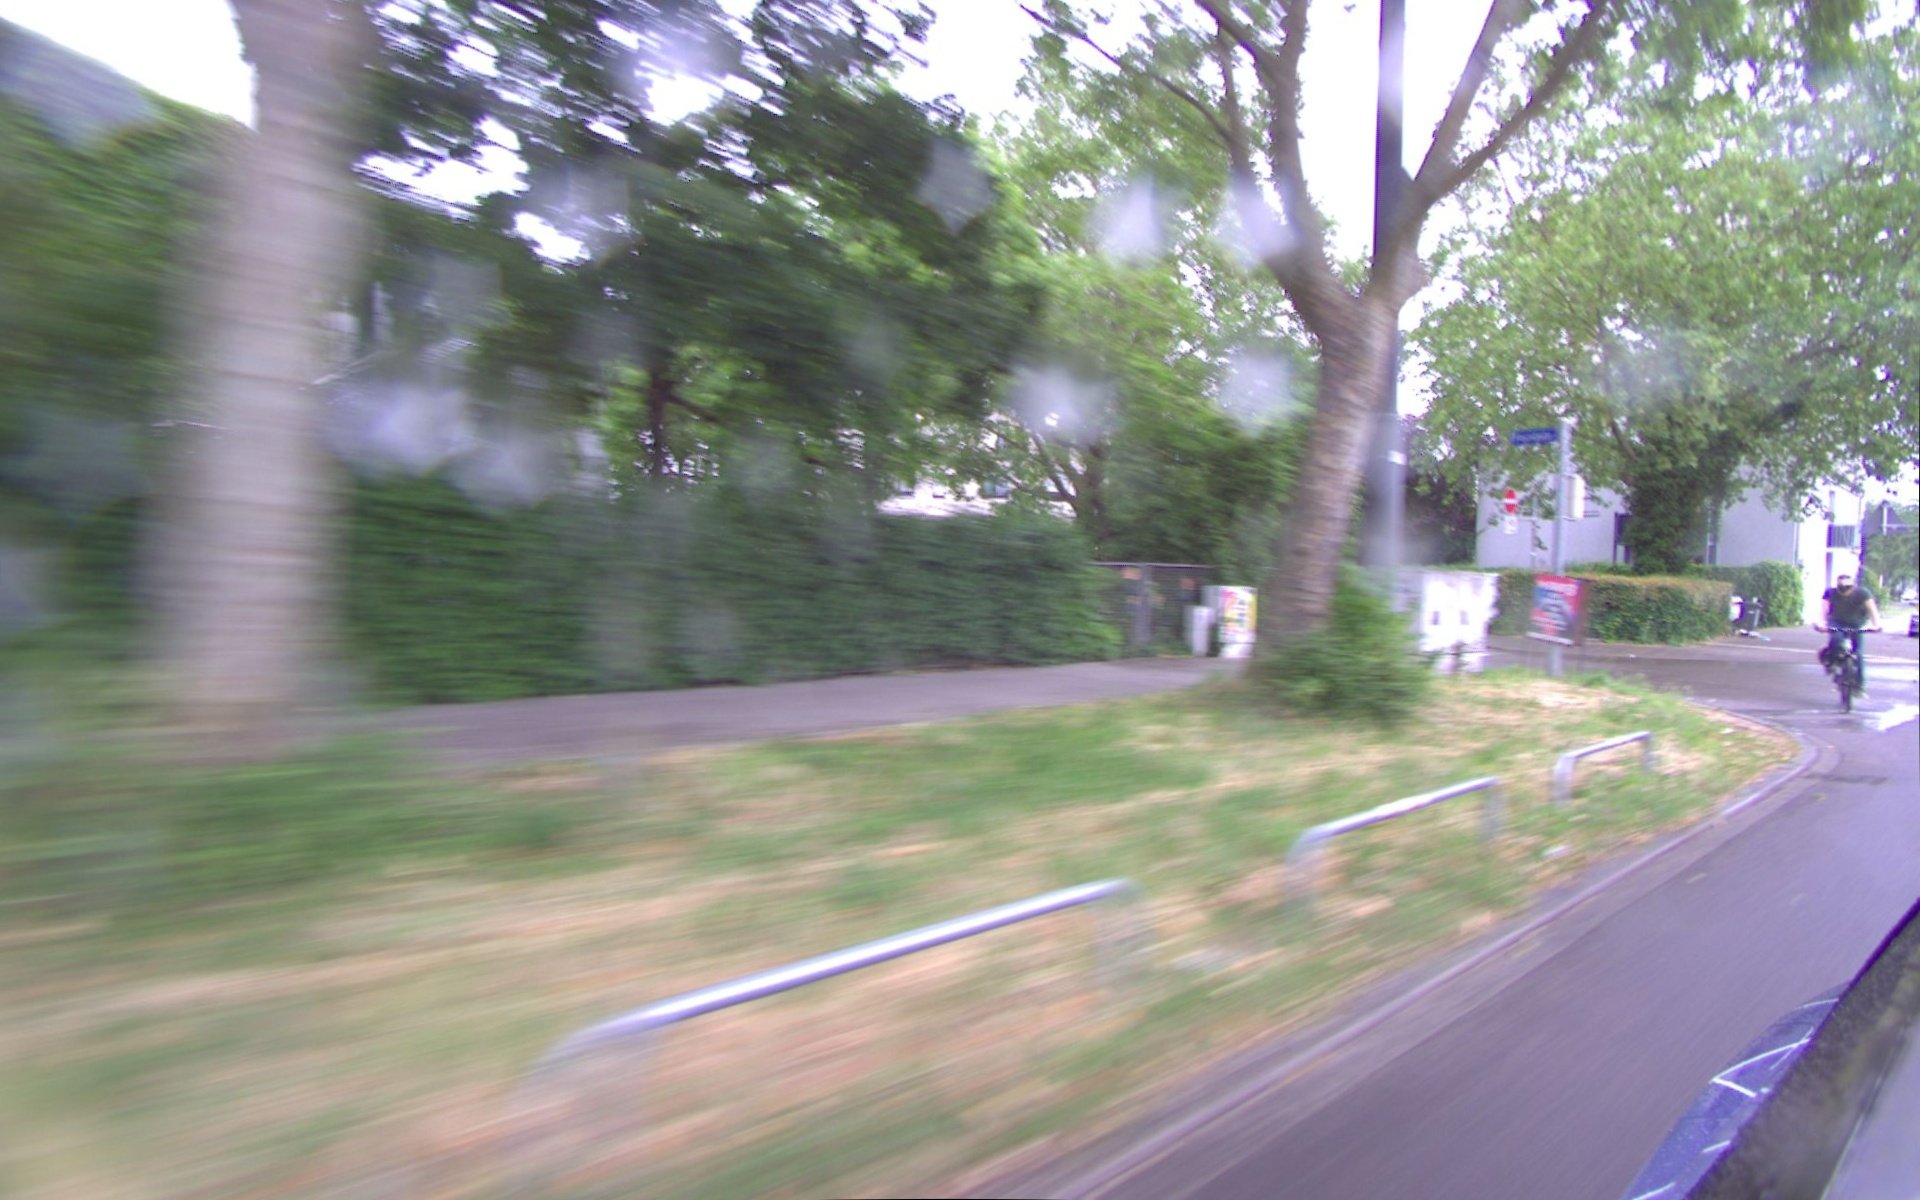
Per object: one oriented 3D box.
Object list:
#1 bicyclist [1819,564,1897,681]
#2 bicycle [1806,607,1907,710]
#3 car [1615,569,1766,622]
[{"bbox_3d":[11.630,0.271,13.102,0.741,1.447,0.674,-1,1,-42],"label":"bicyclist"},{"bbox_3d":[11.654,0.708,13.125,2.403,1.157,0.674,-1,2,-42],"label":"bicycle"},{"bbox_3d":[23.580,-0.178,32.767,1.646,1.424,3.581,0,4,-38],"label":"car"}]
